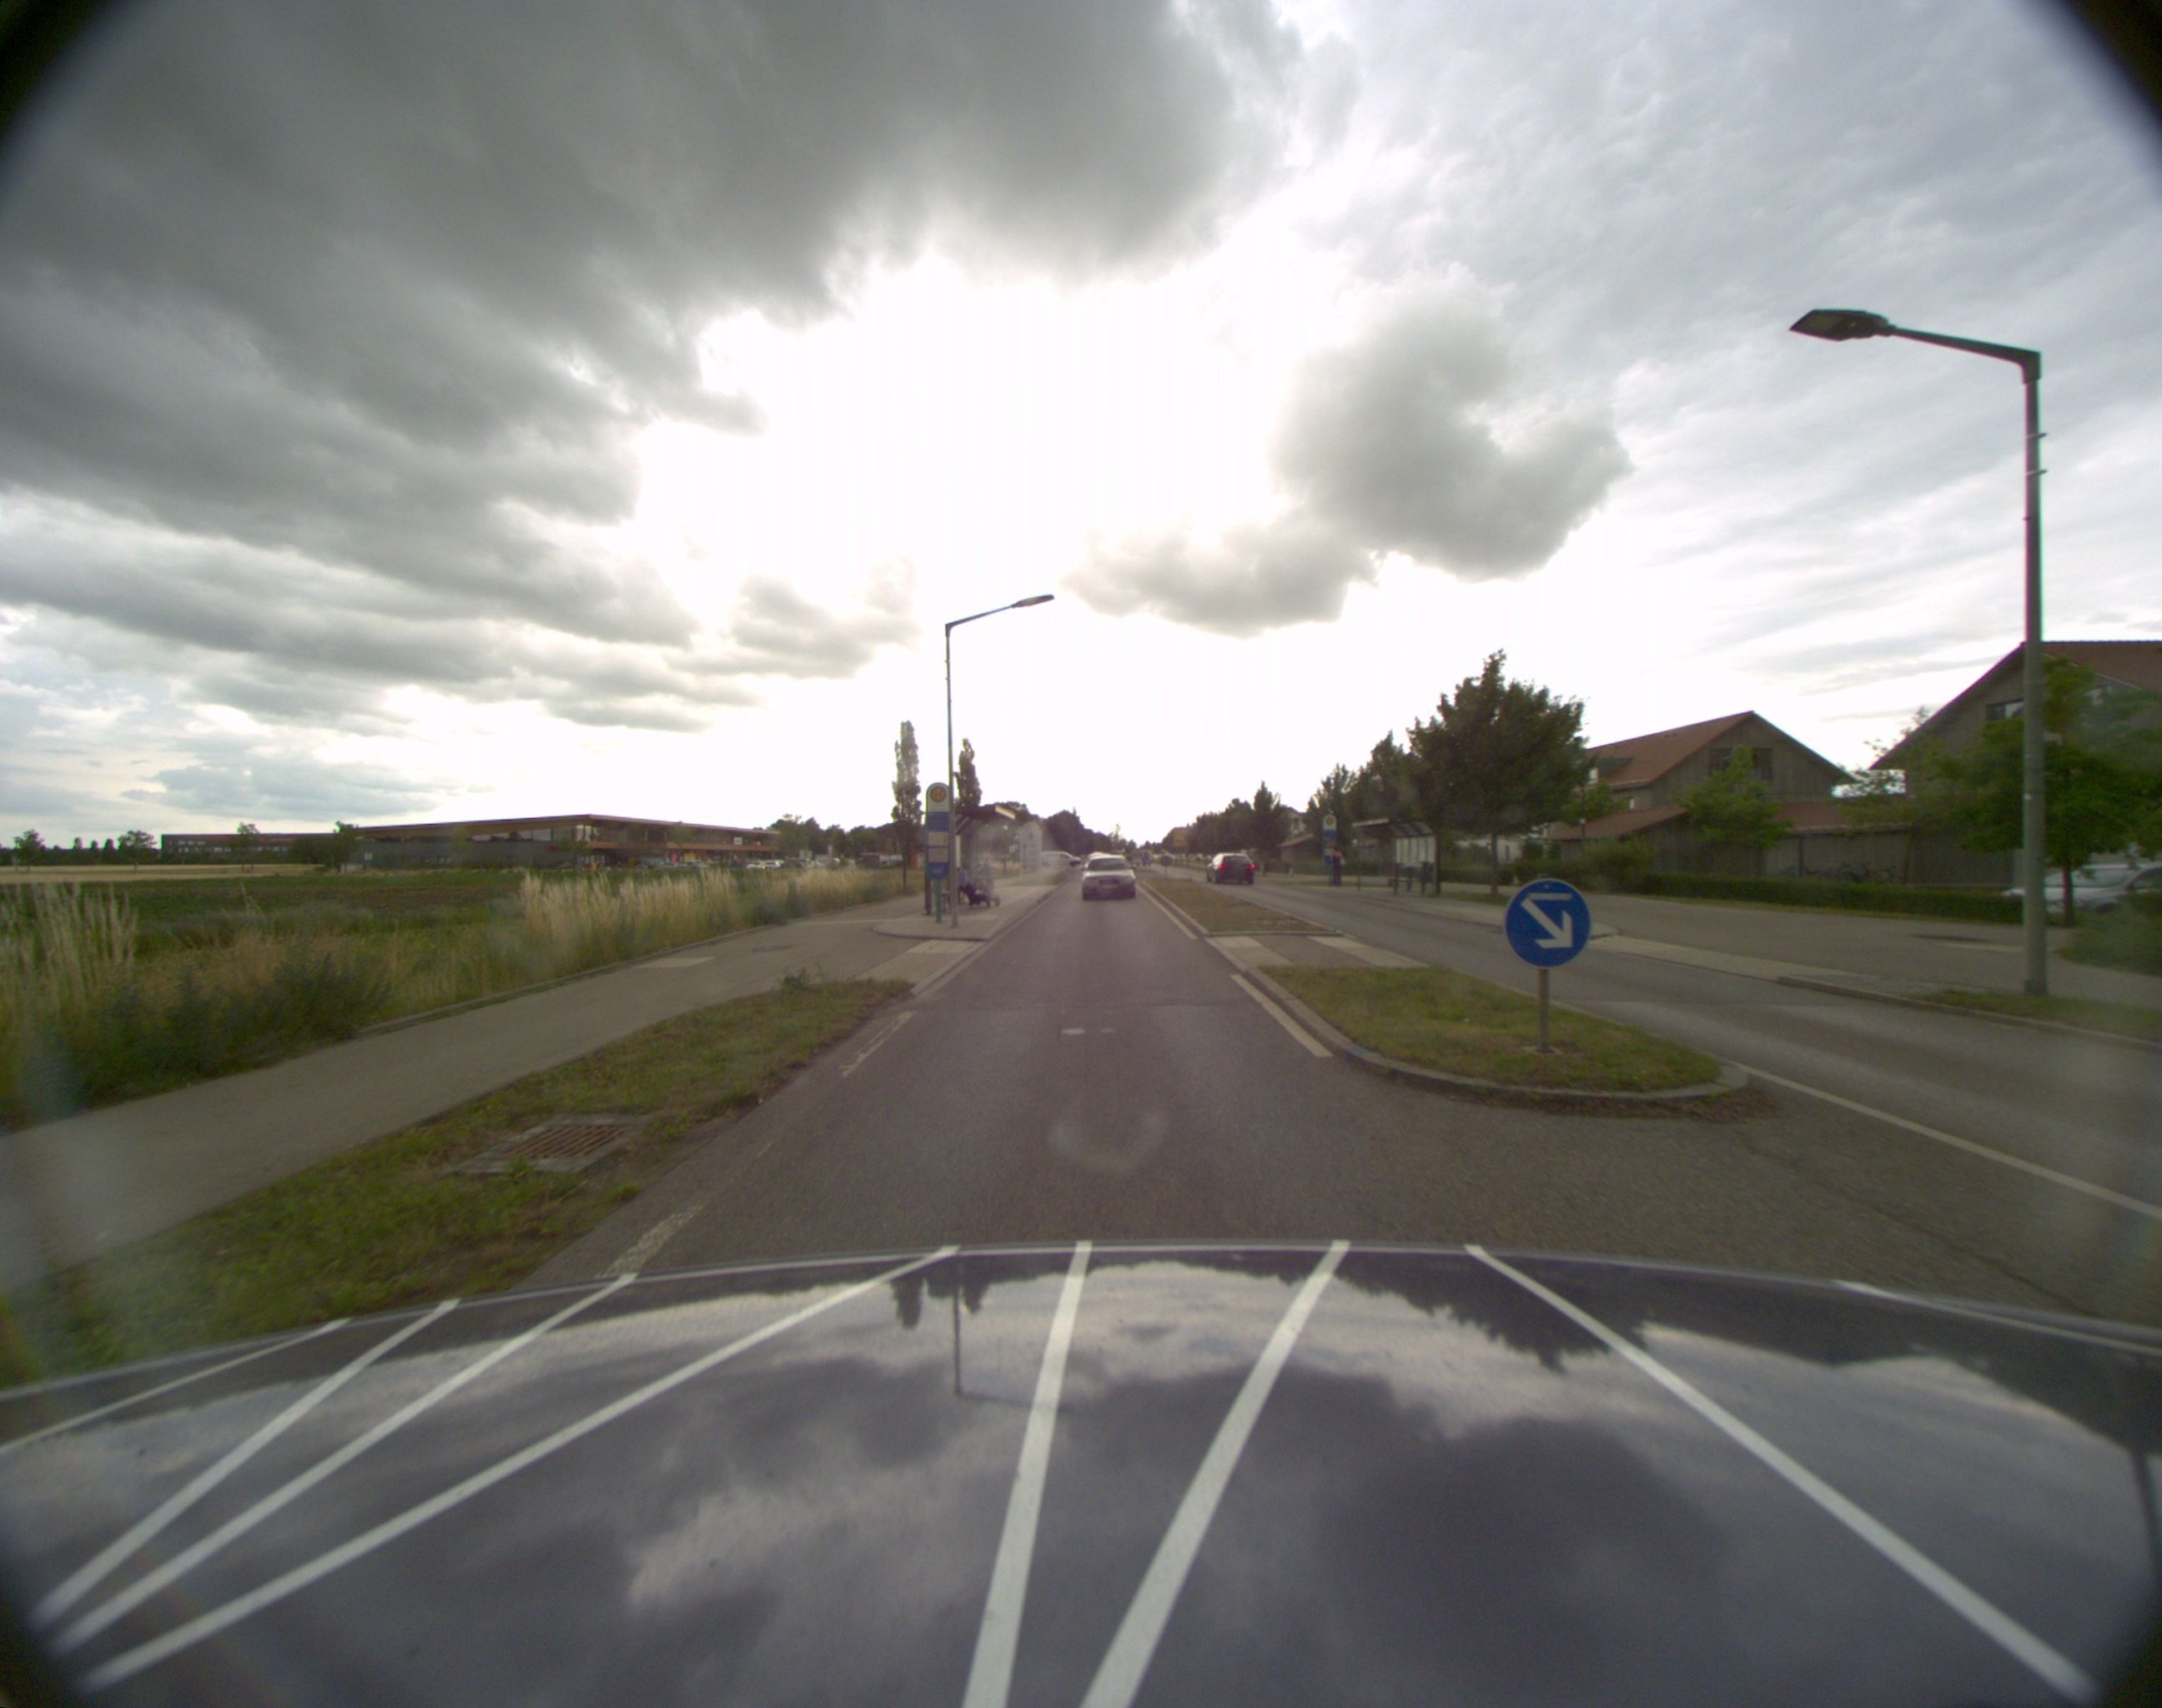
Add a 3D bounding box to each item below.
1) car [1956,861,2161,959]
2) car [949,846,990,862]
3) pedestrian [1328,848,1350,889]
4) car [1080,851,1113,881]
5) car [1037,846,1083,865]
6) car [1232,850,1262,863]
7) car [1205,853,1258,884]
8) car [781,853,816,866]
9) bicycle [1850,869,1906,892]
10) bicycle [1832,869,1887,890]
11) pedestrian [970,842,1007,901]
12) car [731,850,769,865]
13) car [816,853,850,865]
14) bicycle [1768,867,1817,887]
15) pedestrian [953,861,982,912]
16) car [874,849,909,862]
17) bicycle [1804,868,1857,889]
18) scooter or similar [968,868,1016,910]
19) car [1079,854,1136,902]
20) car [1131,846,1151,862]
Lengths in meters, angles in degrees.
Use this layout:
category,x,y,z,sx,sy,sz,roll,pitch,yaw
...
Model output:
category,x,y,z,sx,sy,sz,roll,pitch,yaw
car,22.888,1.202,17.161,3.997,2.002,2.000,-1,0,-1
car,-15.673,-0.056,107.064,5.526,2.002,1.999,-2,1,-5
pedestrian,10.225,0.570,30.161,0.589,1.627,0.813,-1,1,1
car,0.887,0.639,43.641,1.763,1.495,4.691,-2,1,1
car,-2.490,0.142,91.354,5.313,2.002,2.000,-2,1,2
car,27.557,0.406,125.992,4.568,2.002,2.001,-2,1,6
car,7.427,0.684,37.837,1.925,1.445,4.496,0,0,2
car,-45.065,0.868,121.324,4.857,2.002,1.999,-2,1,-6
bicycle,33.742,1.123,32.187,1.946,0.904,0.419,-1,1,0
bicycle,33.775,1.110,32.975,1.946,0.904,0.419,-1,1,0
pedestrian,-2.905,0.551,23.821,0.782,1.782,0.780,-2,1,22
car,-51.311,0.509,117.902,4.857,2.002,1.999,-2,1,-6
car,-44.535,0.881,136.483,5.526,2.002,1.999,-2,1,-5
bicycle,33.764,1.084,36.070,1.946,0.904,0.419,-1,1,0
pedestrian,-2.991,0.843,20.043,0.667,1.295,0.504,-3,1,-8
car,-32.692,0.215,131.383,5.526,2.002,1.999,-2,1,-5
bicycle,33.794,1.097,34.267,1.946,0.904,0.419,-1,1,0
scooter or similar,-2.393,0.934,20.485,0.707,1.056,1.062,-1,1,38
car,0.904,0.778,26.520,1.763,1.410,4.520,-2,1,1
car,7.870,-0.014,99.726,2.559,2.002,5.318,-2,1,5
